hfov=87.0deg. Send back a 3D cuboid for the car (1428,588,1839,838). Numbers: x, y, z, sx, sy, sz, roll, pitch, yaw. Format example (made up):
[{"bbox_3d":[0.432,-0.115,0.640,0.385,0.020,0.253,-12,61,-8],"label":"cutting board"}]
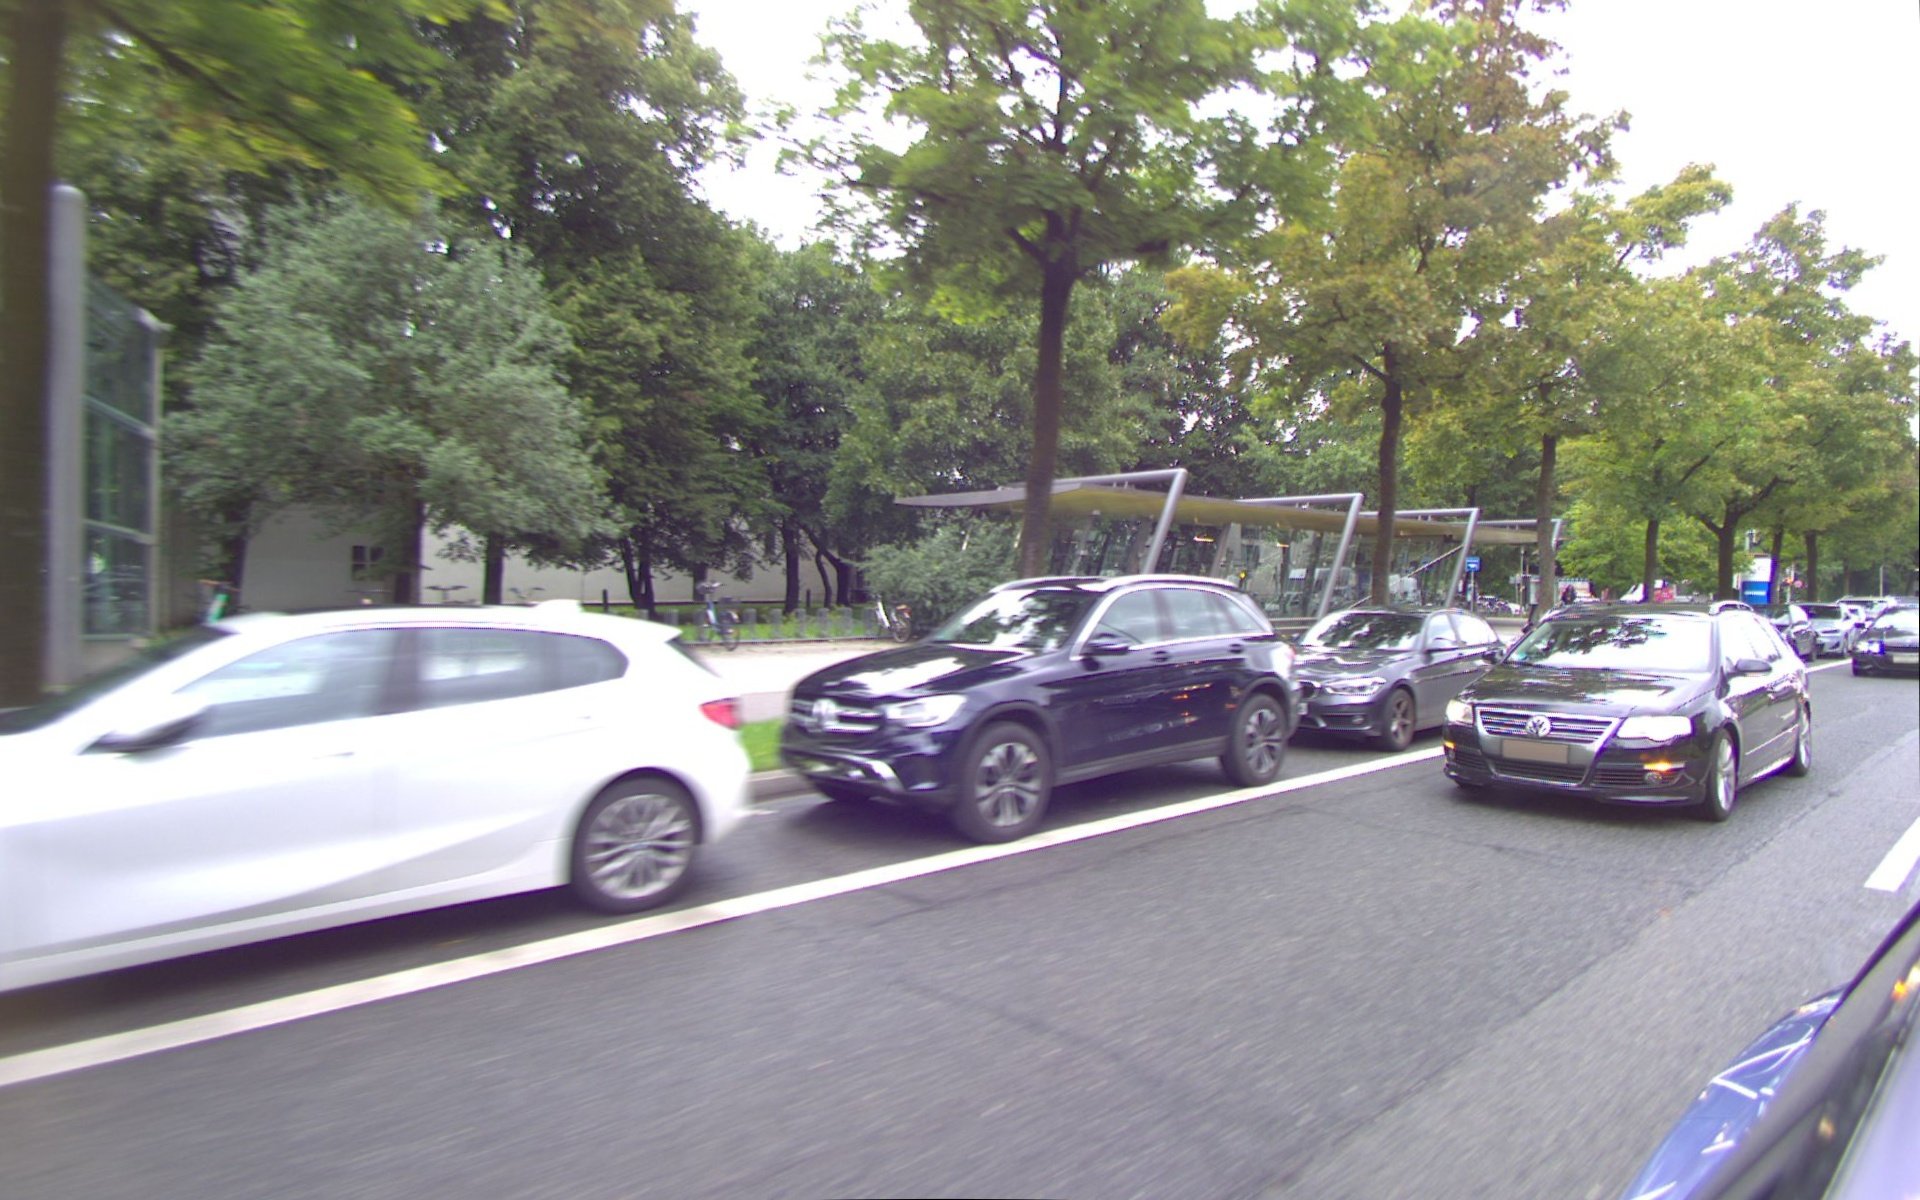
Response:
[{"bbox_3d":[5.675,0.661,8.258,4.592,1.493,1.750,0,1,-42],"label":"car"}]

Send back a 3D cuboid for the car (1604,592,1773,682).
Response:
[{"bbox_3d":[14.118,0.633,19.526,4.149,1.527,1.721,0,1,-41],"label":"car"}]

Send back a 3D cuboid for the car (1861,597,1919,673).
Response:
[{"bbox_3d":[20.297,0.691,20.976,4.589,1.447,1.818,0,1,-41],"label":"car"}]

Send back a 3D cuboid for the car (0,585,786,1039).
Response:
[{"bbox_3d":[-3.096,0.677,4.400,4.405,1.452,1.656,0,1,-42],"label":"car"}]

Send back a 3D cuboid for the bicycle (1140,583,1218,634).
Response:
[{"bbox_3d":[5.857,0.201,26.938,2.506,1.296,0.646,0,1,-41],"label":"bicycle"}]

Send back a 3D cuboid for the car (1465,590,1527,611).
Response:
[{"bbox_3d":[41.586,0.025,78.509,1.600,1.472,3.942,0,1,-43],"label":"car"}]

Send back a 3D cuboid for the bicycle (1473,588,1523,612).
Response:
[{"bbox_3d":[29.326,-0.003,55.216,0.520,1.171,2.344,1,3,-40],"label":"bicycle"}]

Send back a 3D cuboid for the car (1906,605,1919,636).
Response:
[{"bbox_3d":[45.762,0.963,47.473,4.543,1.377,1.712,0,0,-43],"label":"car"}]

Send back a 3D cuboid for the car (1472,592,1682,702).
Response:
[{"bbox_3d":[9.662,0.624,15.734,4.006,1.471,1.637,0,1,-41],"label":"car"}]

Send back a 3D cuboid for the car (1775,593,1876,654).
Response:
[{"bbox_3d":[24.128,0.592,28.151,4.326,1.553,1.722,0,1,-44],"label":"car"}]

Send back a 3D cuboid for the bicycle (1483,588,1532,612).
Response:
[{"bbox_3d":[30.240,-0.035,55.926,0.520,1.171,2.344,1,3,-40],"label":"bicycle"}]

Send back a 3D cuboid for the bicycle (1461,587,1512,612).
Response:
[{"bbox_3d":[28.251,-0.033,54.337,0.520,1.171,2.344,1,3,-40],"label":"bicycle"}]

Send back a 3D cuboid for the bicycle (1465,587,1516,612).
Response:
[{"bbox_3d":[28.739,-0.033,54.861,0.520,1.171,2.344,1,3,-40],"label":"bicycle"}]

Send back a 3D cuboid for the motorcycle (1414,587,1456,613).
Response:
[{"bbox_3d":[22.486,0.009,47.896,1.775,1.192,0.660,1,1,-15],"label":"motorcycle"}]

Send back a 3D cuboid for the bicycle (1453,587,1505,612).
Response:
[{"bbox_3d":[27.485,-0.032,53.635,0.520,1.171,2.344,1,3,-40],"label":"bicycle"}]

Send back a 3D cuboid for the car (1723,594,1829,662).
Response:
[{"bbox_3d":[20.167,0.622,24.956,4.023,1.554,1.543,0,0,-44],"label":"car"}]

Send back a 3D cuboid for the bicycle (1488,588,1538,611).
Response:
[{"bbox_3d":[30.726,-0.035,56.253,0.520,1.171,2.344,1,3,-40],"label":"bicycle"}]

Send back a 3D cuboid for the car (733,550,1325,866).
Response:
[{"bbox_3d":[0.755,0.552,7.603,4.516,1.696,1.790,0,1,-42],"label":"car"}]

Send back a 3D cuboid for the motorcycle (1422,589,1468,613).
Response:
[{"bbox_3d":[22.506,0.025,46.982,1.778,1.075,0.659,1,1,-2],"label":"motorcycle"}]

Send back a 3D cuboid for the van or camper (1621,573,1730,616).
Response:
[{"bbox_3d":[40.671,-0.305,57.544,6.069,2.325,2.153,0,1,-23],"label":"van or camper"}]

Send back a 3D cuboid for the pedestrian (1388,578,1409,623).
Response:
[{"bbox_3d":[15.213,0.003,35.098,0.575,1.532,0.687,1,0,31],"label":"pedestrian"}]

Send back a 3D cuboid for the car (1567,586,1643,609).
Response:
[{"bbox_3d":[46.570,-0.197,73.101,1.856,1.516,4.305,0,1,-43],"label":"car"}]

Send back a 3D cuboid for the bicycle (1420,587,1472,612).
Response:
[{"bbox_3d":[25.056,-0.030,52.198,0.520,1.171,2.344,1,3,-40],"label":"bicycle"}]

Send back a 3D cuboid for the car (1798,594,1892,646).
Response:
[{"bbox_3d":[27.833,0.601,31.790,4.427,1.527,1.704,0,-1,-42],"label":"car"}]

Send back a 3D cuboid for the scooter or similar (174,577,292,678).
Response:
[{"bbox_3d":[-9.351,0.341,13.037,1.214,1.248,0.421,0,0,-38],"label":"scooter or similar"}]

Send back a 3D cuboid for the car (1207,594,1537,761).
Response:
[{"bbox_3d":[4.616,0.682,11.030,4.230,1.457,1.636,0,1,-42],"label":"car"}]

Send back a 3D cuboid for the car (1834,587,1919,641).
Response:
[{"bbox_3d":[31.719,0.450,34.866,4.819,1.746,1.750,0,0,-41],"label":"car"}]

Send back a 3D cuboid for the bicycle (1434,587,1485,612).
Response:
[{"bbox_3d":[25.959,-0.030,52.655,0.520,1.171,2.344,1,3,-40],"label":"bicycle"}]

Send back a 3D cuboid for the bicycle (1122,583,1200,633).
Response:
[{"bbox_3d":[5.477,0.196,27.474,2.506,1.296,0.646,0,1,-41],"label":"bicycle"}]

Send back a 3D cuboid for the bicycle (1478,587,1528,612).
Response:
[{"bbox_3d":[29.797,-0.034,55.551,0.520,1.171,2.344,1,3,-40],"label":"bicycle"}]

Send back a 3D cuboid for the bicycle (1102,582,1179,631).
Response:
[{"bbox_3d":[5.022,0.154,27.983,2.506,1.296,0.646,0,1,-41],"label":"bicycle"}]
